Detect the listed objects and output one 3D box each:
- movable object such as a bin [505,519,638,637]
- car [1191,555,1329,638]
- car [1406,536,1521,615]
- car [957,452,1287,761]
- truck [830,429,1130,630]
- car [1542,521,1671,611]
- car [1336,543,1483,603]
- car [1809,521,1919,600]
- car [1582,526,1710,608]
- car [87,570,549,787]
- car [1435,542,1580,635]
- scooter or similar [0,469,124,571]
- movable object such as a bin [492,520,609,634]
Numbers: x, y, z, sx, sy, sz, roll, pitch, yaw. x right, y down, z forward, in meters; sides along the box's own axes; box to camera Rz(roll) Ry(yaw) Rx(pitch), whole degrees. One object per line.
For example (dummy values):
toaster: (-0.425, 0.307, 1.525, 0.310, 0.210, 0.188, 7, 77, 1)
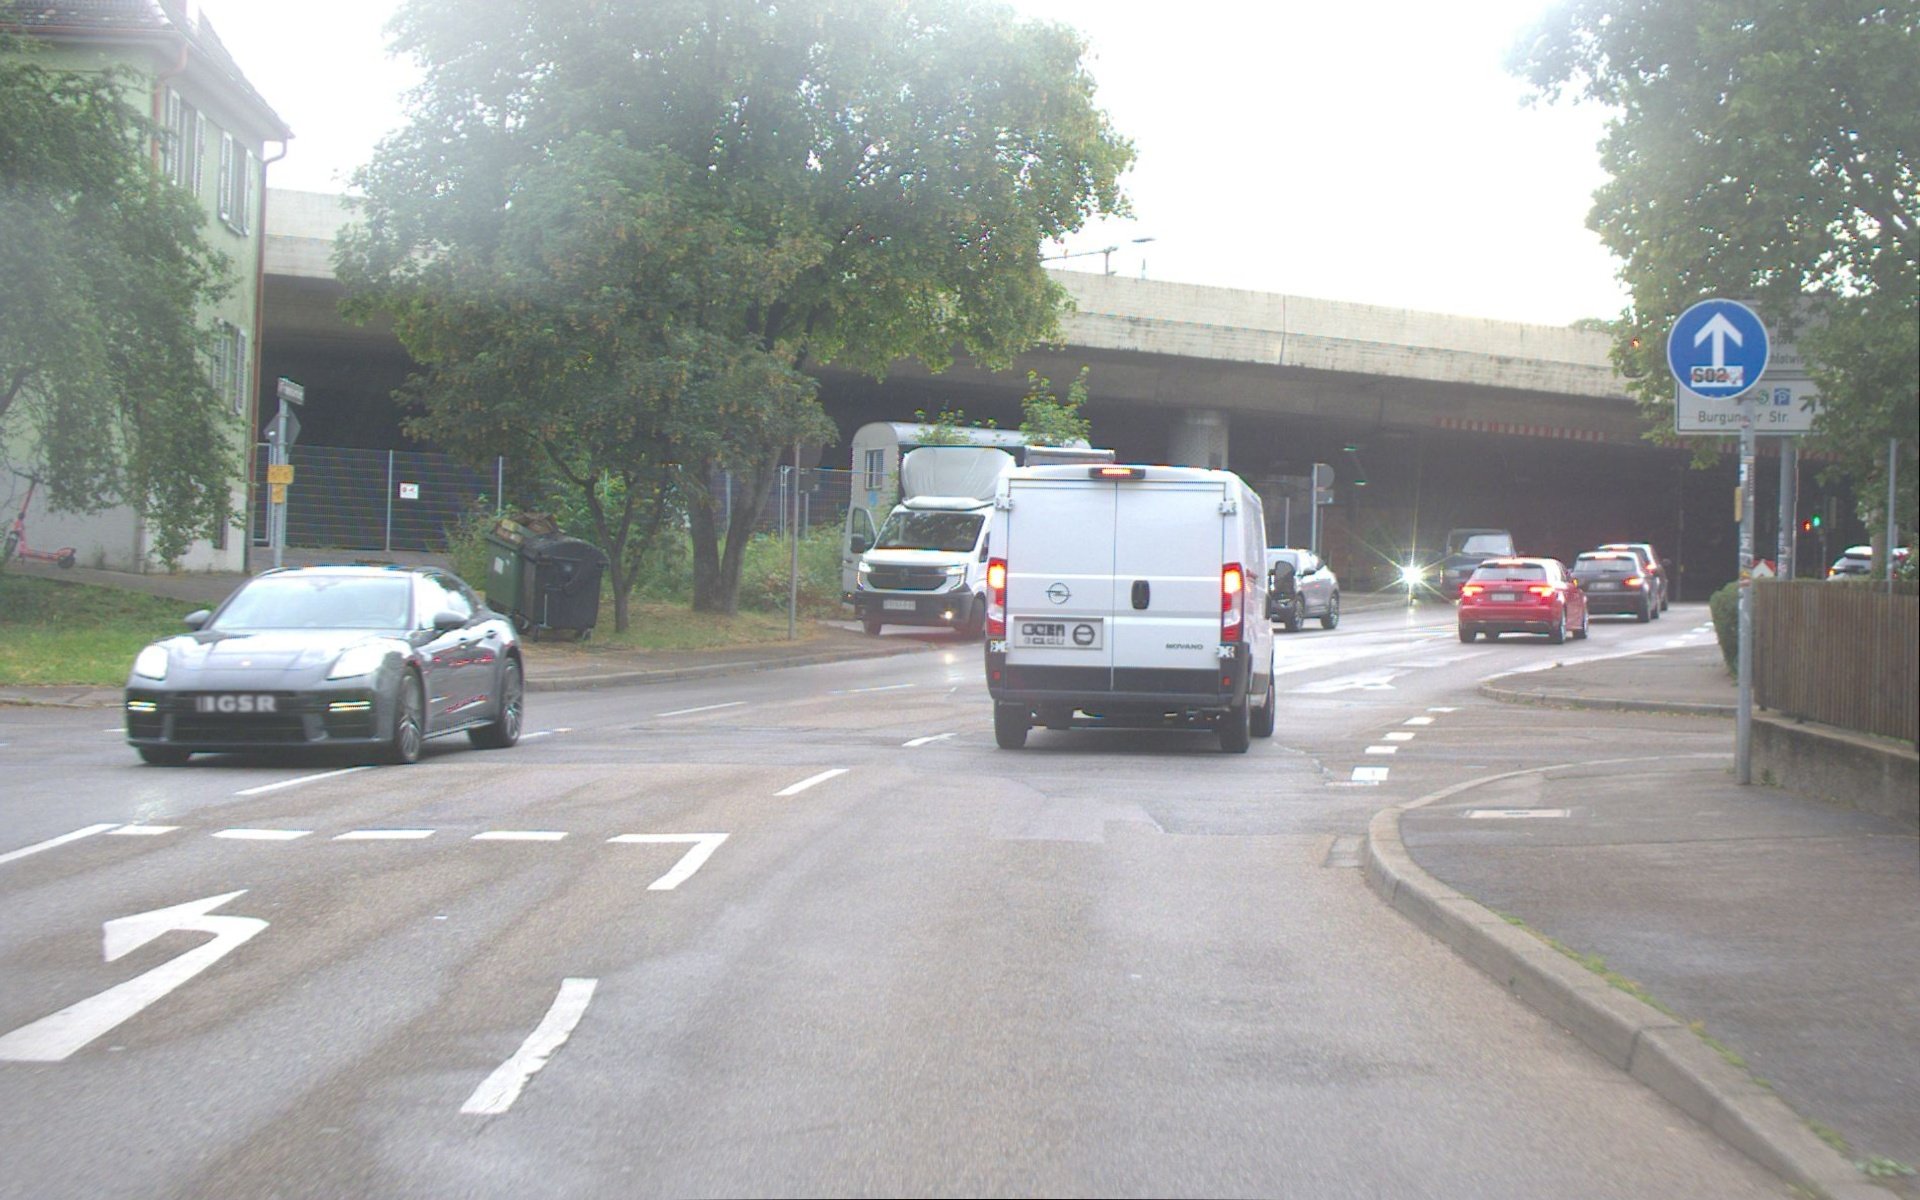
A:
movable object such as a bin: (-5.450, -0.307, 48.111, 1.290, 1.432, 1.463, 3, 5, -28)
car: (5.564, -0.093, 63.468, 1.896, 1.456, 3.997, 0, 1, 15)
car: (12.713, -0.654, 86.573, 1.959, 1.924, 4.679, 0, 1, 20)
car: (1.483, -0.027, 29.043, 2.306, 2.335, 5.281, 1, 2, 8)
truck: (0.483, -1.212, 59.501, 2.613, 3.226, 7.768, 1, 1, 21)
car: (13.016, -0.679, 69.056, 1.995, 1.723, 3.996, 1, 1, 19)
car: (13.196, -0.820, 101.174, 1.831, 1.573, 4.334, -1, 3, -35)
car: (18.823, -0.784, 69.343, 1.997, 1.544, 3.992, 1, 1, 34)
car: (14.973, -0.710, 74.917, 1.996, 1.723, 3.995, 1, 1, 22)
car: (-4.638, 0.510, 25.641, 1.994, 1.438, 4.773, 1, 0, 7)
car: (9.352, -0.206, 58.521, 1.995, 1.508, 3.997, 1, 1, 15)
scooter or similar: (-12.248, -1.086, 46.839, 1.521, 1.269, 0.530, 5, 1, 14)
movable object such as a bin: (-5.905, -0.333, 49.519, 1.097, 1.432, 1.463, 3, 5, -28)
